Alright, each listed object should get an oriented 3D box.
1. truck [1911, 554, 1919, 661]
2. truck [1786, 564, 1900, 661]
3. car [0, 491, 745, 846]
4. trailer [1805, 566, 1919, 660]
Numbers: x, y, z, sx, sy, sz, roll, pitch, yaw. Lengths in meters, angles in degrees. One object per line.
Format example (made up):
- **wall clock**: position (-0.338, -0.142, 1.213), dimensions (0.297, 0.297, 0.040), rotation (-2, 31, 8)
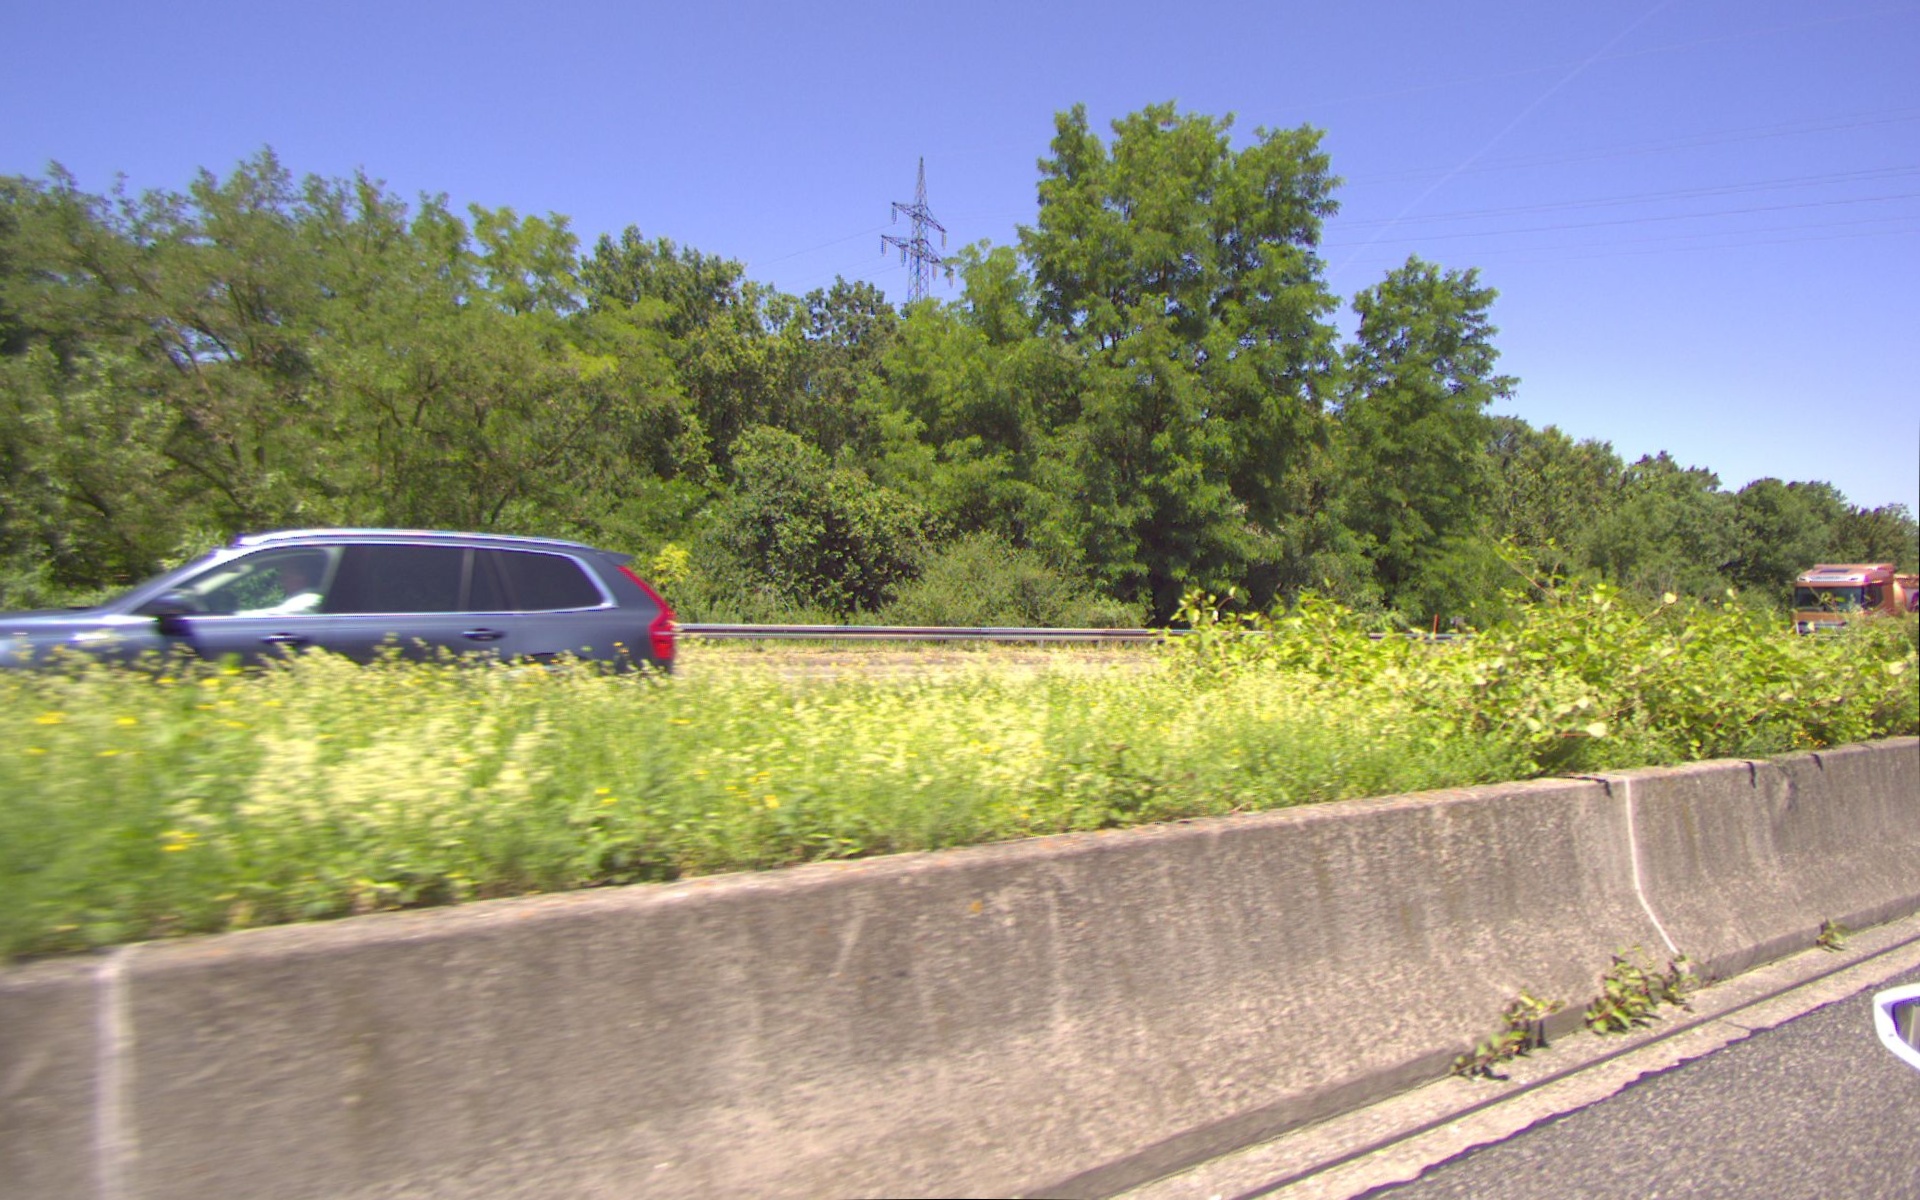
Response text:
- **truck**: position (37.164, 0.349, 36.458), dimensions (5.666, 3.839, 2.452), rotation (2, 0, -32)
- **truck**: position (35.074, 0.527, 39.892), dimensions (4.119, 3.649, 2.343), rotation (1, 0, -33)
- **car**: position (-4.219, 0.380, 6.778), dimensions (5.084, 1.845, 1.865), rotation (2, 0, -31)
- **trailer**: position (41.121, 0.667, 43.657), dimensions (14.060, 3.643, 2.359), rotation (2, 0, -32)
